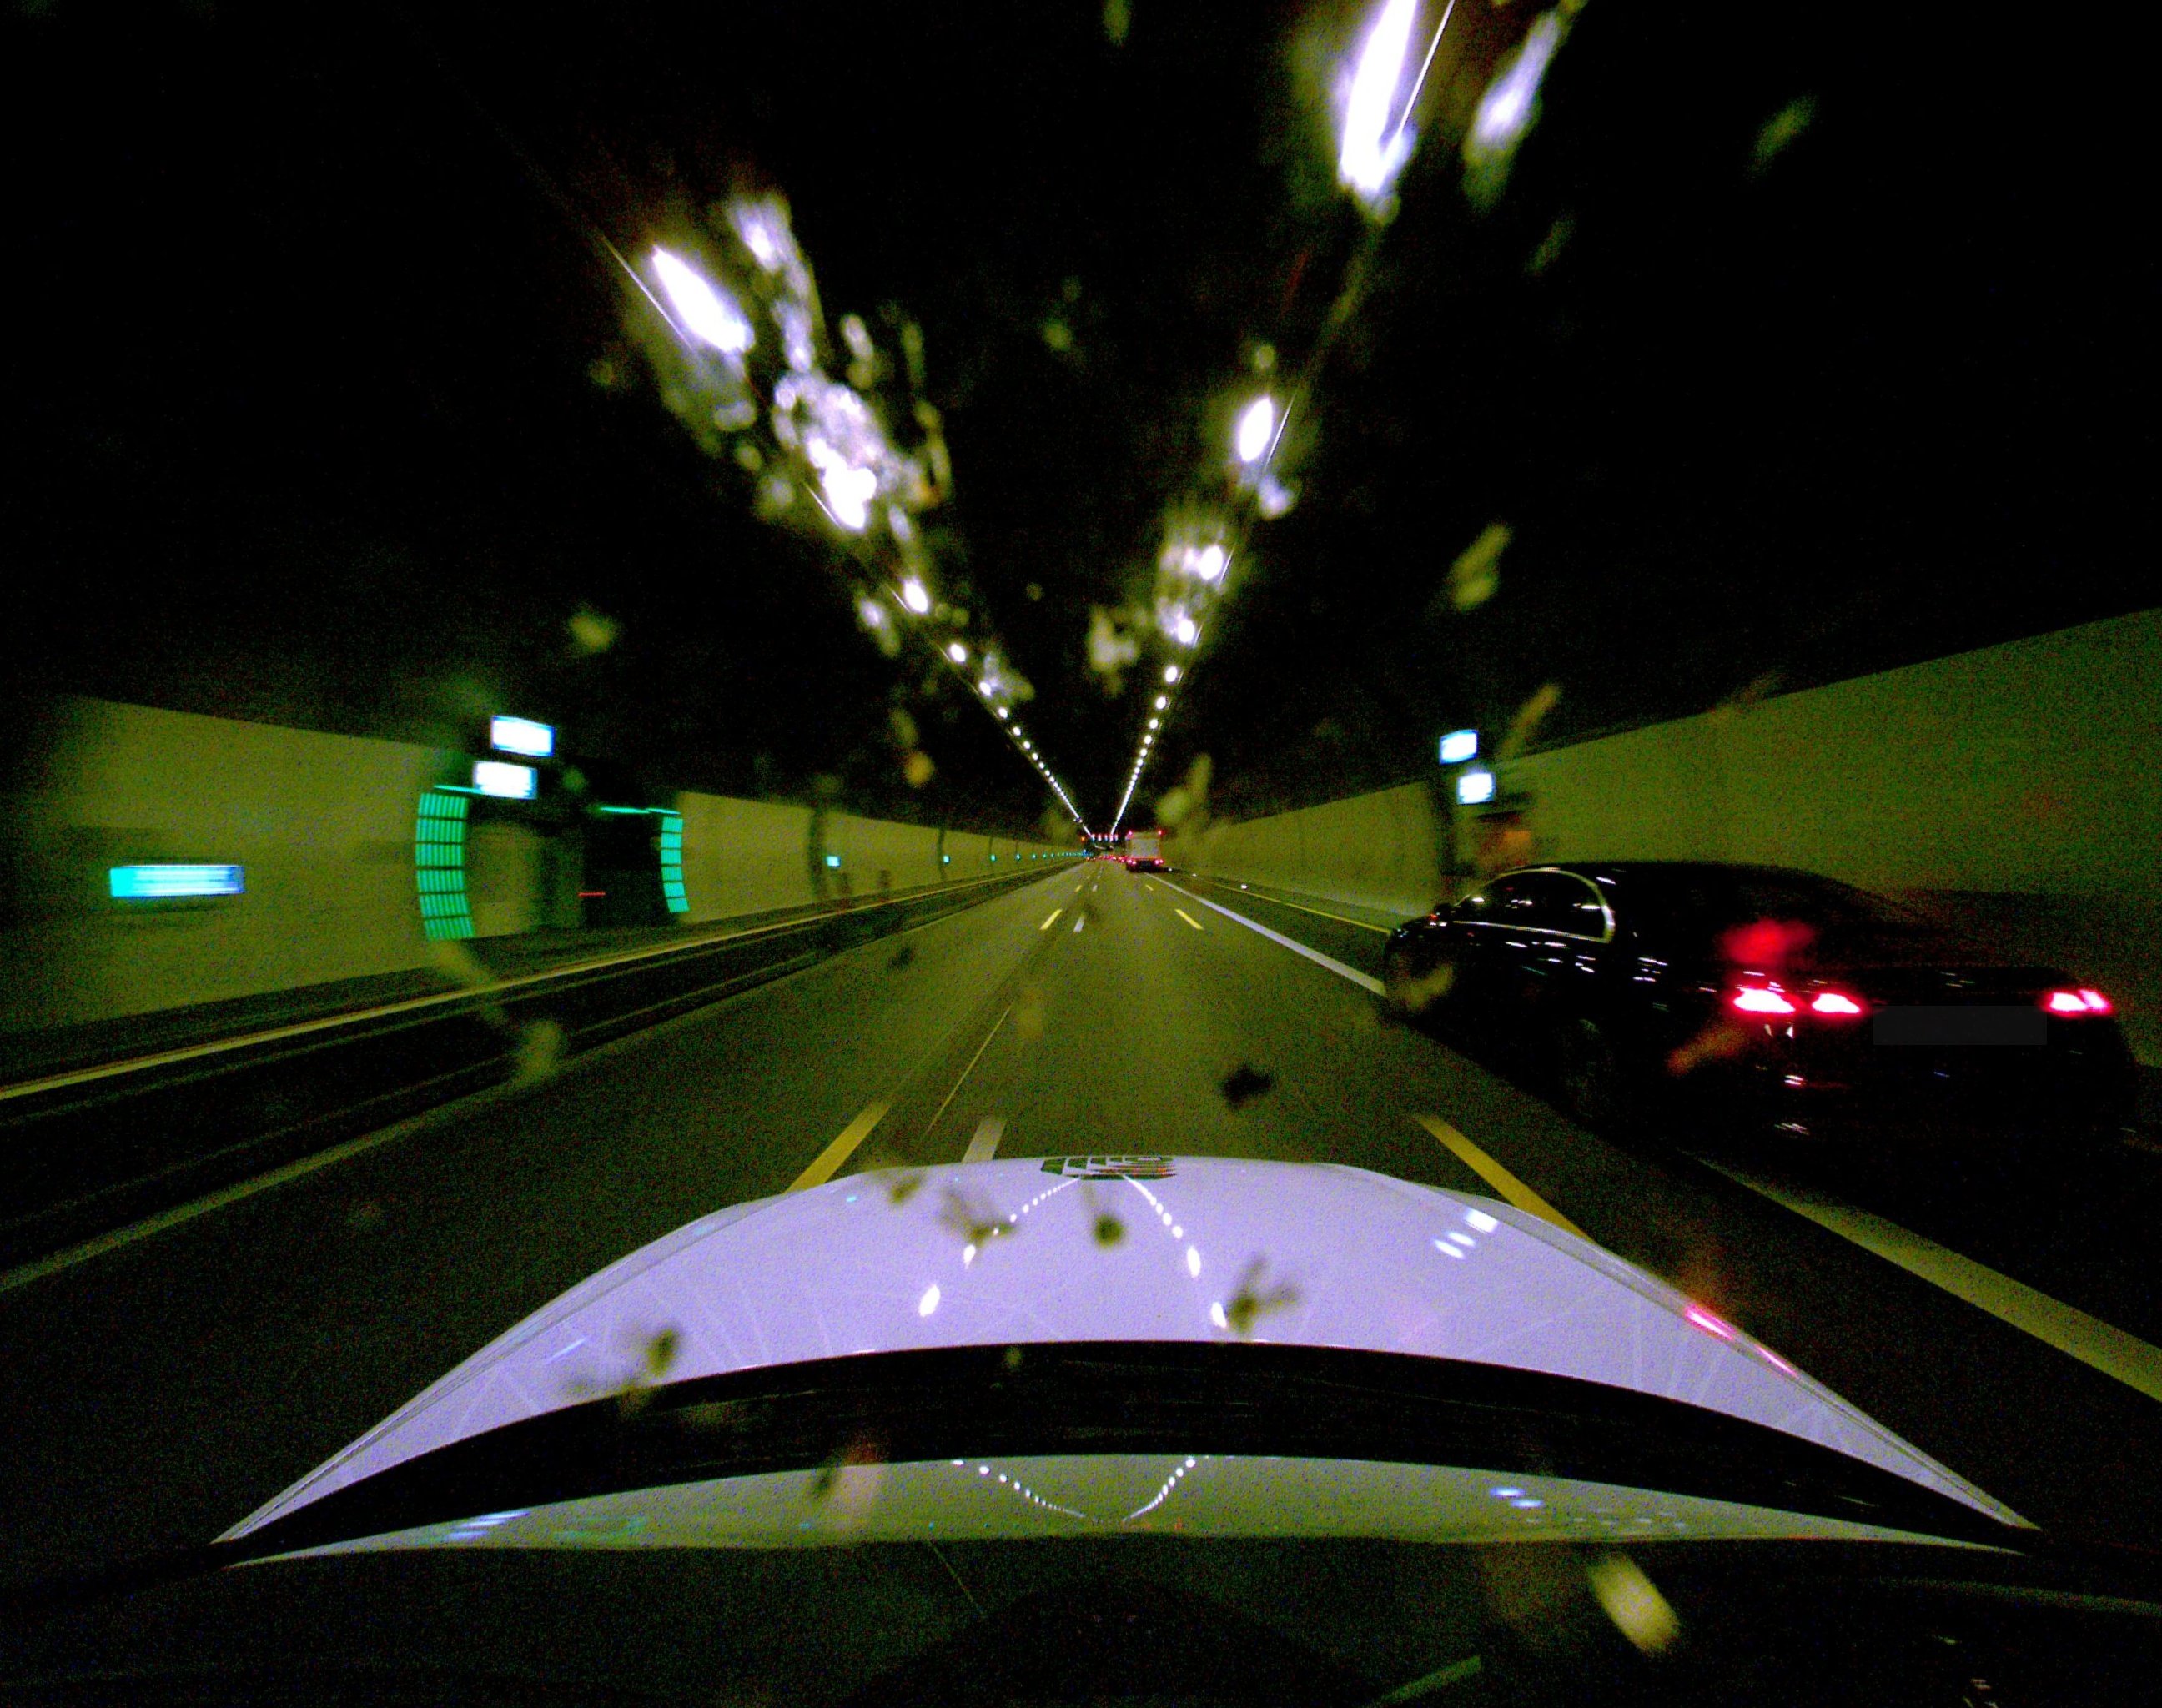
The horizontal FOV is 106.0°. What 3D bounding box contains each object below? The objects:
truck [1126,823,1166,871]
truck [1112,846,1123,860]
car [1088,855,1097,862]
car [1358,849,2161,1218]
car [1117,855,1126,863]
[{"bbox_3d":[5.651,-0.497,72.853,3.080,3.918,10.372,1,-1,2],"label":"truck"},{"bbox_3d":[10.706,-0.204,238.402,3.053,3.918,10.376,1,-1,3],"label":"truck"},{"bbox_3d":[2.399,1.008,170.968,1.752,1.461,4.121,0,0,2],"label":"car"},{"bbox_3d":[3.682,0.739,5.771,1.918,1.472,4.956,0,0,2],"label":"car"},{"bbox_3d":[8.021,1.030,161.620,1.732,1.461,3.964,0,0,3],"label":"car"}]
